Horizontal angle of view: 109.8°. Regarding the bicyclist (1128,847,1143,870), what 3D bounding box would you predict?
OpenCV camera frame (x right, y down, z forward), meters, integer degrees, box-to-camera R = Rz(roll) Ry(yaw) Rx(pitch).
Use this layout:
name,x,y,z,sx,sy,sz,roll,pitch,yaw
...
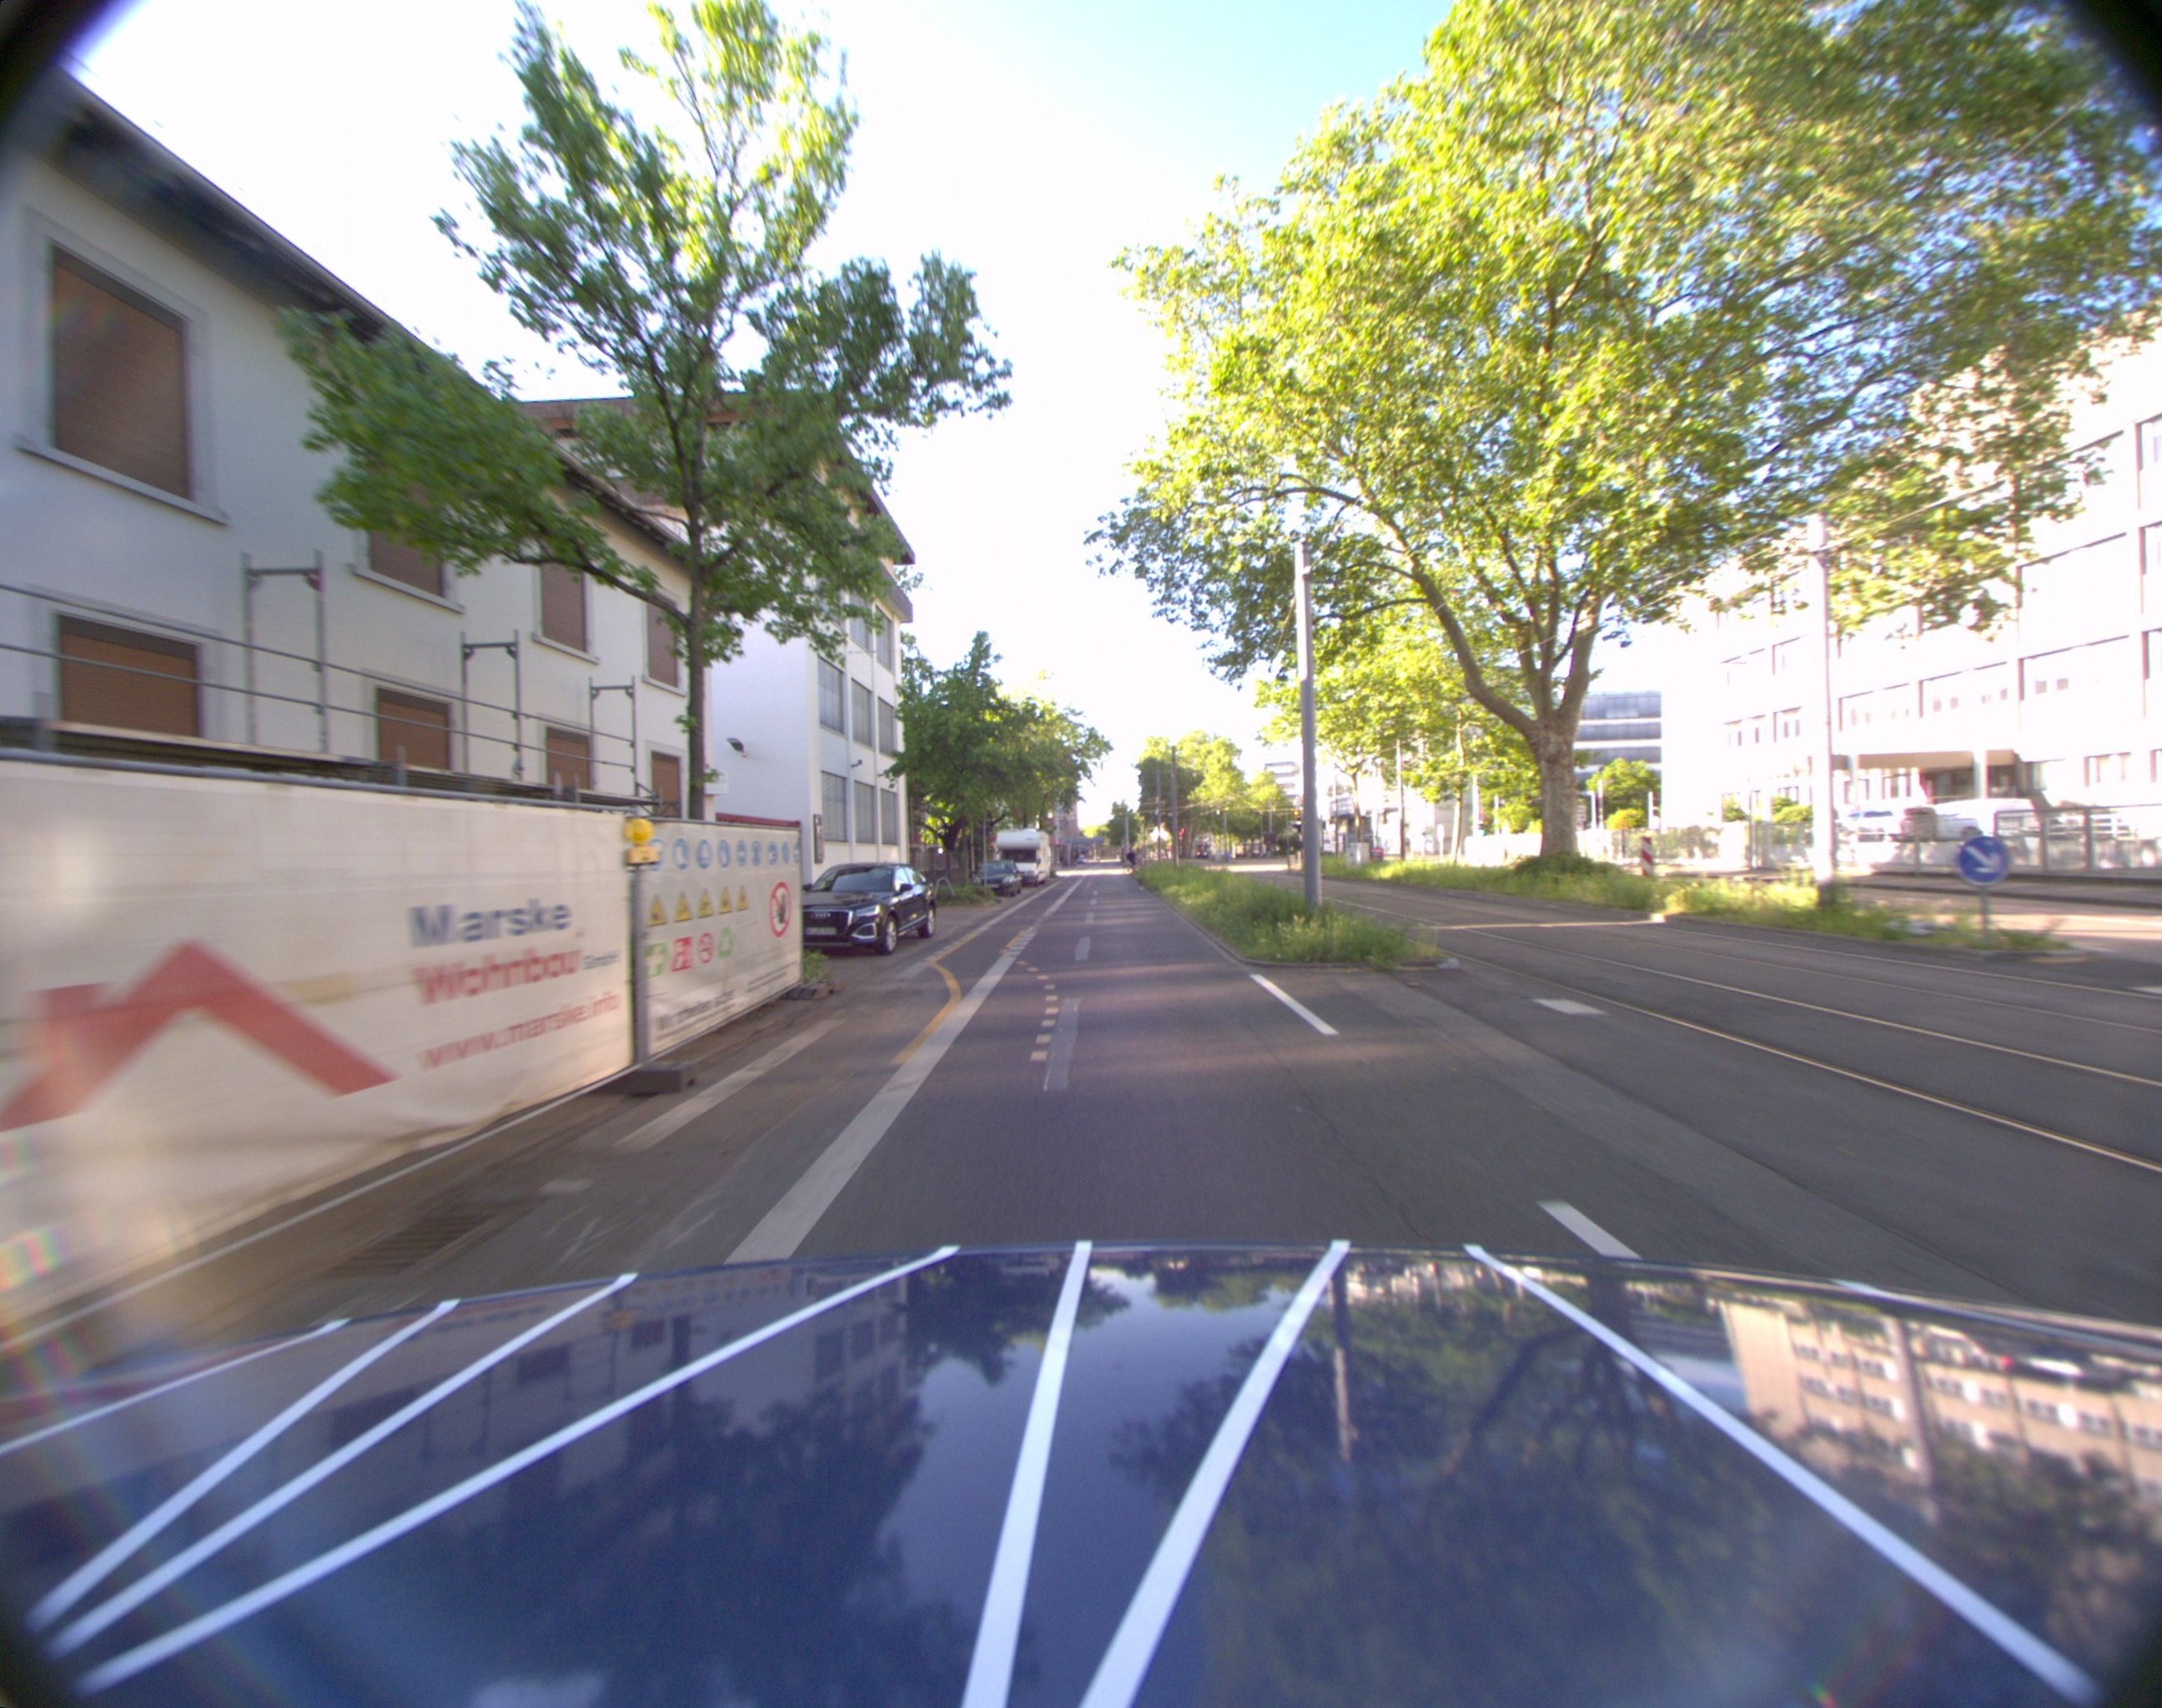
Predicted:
name,x,y,z,sx,sy,sz,roll,pitch,yaw
bicyclist,3.825,0.284,53.314,1.007,1.567,0.760,-2,1,5

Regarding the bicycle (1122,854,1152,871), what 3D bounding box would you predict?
name,x,y,z,sx,sy,sz,roll,pitch,yaw
bicycle,3.927,0.616,53.311,2.082,1.122,0.760,-2,1,5

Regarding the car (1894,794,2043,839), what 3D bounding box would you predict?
name,x,y,z,sx,sy,sz,roll,pitch,yaw
car,38.234,-1.556,32.917,1.852,1.742,4.000,-2,1,2

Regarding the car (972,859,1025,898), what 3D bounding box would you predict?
name,x,y,z,sx,sy,sz,roll,pitch,yaw
car,-3.279,0.954,30.796,1.656,1.439,3.801,-1,0,1

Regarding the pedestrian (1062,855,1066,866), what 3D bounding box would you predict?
name,x,y,z,sx,sy,sz,roll,pitch,yaw
pedestrian,-2.654,1.007,118.309,0.621,1.771,0.686,-2,1,2

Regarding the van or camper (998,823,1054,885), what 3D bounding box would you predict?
name,x,y,z,sx,sy,sz,roll,pitch,yaw
van or camper,-2.849,-0.015,41.155,2.172,3.075,7.290,-1,0,2

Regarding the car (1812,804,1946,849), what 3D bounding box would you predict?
name,x,y,z,sx,sy,sz,roll,pitch,yaw
car,35.267,-1.165,33.748,1.852,1.807,4.000,-2,1,2

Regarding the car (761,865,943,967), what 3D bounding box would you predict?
name,x,y,z,sx,sy,sz,roll,pitch,yaw
car,-3.902,0.995,13.753,1.767,1.475,4.110,-1,0,4
